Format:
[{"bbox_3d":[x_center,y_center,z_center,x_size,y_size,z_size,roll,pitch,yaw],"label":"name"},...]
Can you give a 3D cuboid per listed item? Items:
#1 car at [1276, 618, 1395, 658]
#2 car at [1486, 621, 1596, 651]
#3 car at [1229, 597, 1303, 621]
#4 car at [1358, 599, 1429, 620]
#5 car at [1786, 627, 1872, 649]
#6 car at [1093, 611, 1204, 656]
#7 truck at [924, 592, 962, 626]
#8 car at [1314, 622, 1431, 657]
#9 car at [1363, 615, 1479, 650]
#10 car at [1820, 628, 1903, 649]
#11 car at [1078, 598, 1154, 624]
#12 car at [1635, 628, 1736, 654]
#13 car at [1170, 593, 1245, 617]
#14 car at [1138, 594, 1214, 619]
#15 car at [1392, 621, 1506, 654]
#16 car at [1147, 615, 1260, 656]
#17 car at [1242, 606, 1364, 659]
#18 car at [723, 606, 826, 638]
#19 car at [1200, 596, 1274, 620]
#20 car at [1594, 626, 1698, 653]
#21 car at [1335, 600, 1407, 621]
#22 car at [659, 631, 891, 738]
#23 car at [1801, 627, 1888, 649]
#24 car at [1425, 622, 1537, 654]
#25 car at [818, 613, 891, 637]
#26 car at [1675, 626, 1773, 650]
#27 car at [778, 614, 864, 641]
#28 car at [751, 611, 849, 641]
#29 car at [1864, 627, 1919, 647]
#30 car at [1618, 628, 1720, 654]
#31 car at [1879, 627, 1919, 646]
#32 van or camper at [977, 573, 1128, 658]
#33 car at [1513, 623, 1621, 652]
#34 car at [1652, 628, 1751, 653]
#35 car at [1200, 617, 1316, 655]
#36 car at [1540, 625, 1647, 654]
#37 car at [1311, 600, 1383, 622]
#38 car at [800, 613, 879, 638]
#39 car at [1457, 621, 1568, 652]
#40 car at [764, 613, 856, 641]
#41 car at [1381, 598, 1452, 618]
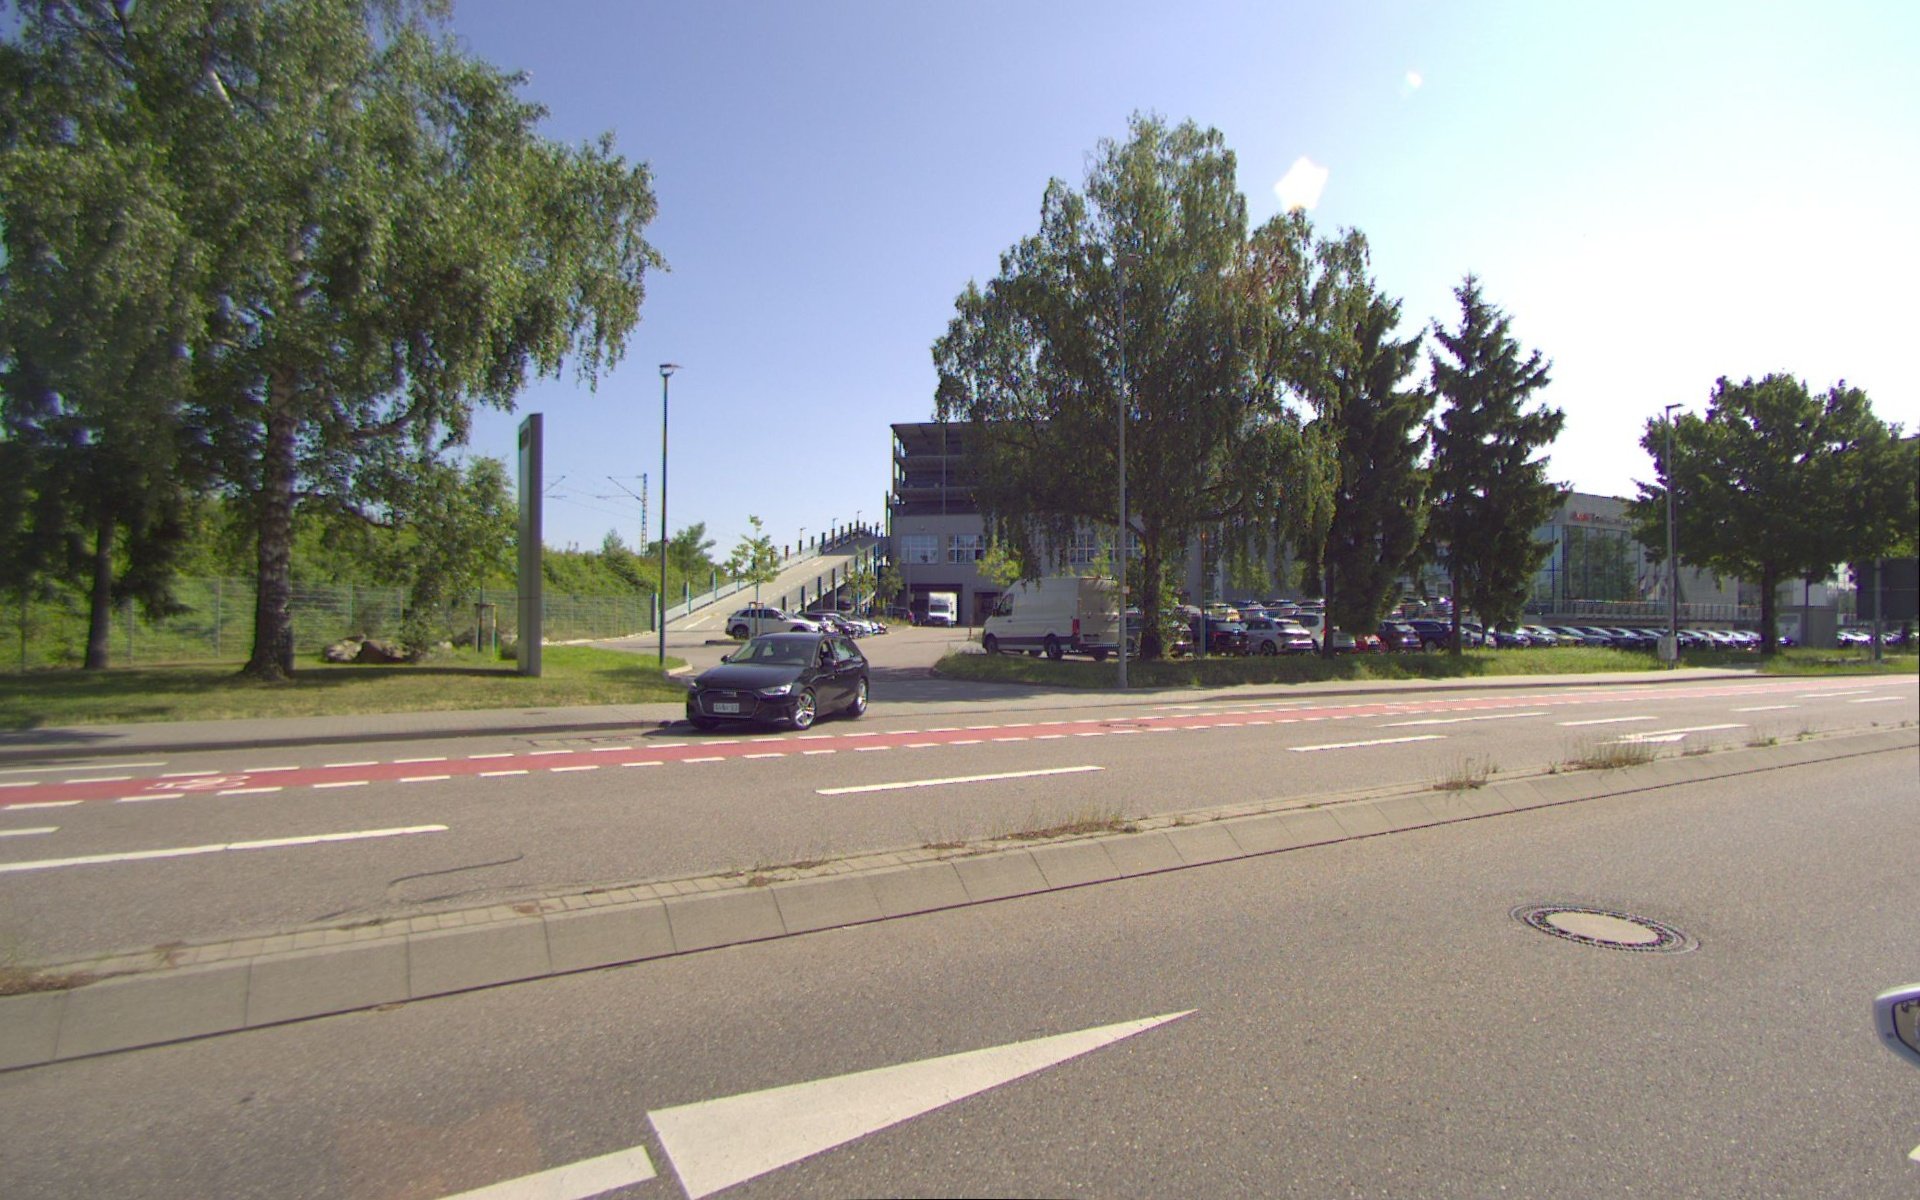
[{"bbox_3d":[14.830,1.474,39.937,1.930,1.524,4.249,1,-1,-28],"label":"car"},{"bbox_3d":[28.140,1.717,48.780,1.930,1.368,4.249,1,-1,-28],"label":"car"},{"bbox_3d":[18.702,0.579,61.526,1.931,1.368,4.247,1,-1,-30],"label":"car"},{"bbox_3d":[29.786,0.654,69.166,1.931,1.368,4.247,1,-1,-30],"label":"car"},{"bbox_3d":[57.890,2.520,66.973,1.844,1.394,3.968,1,-1,-30],"label":"car"},{"bbox_3d":[6.401,1.128,34.488,1.720,1.458,4.075,1,-1,-25],"label":"car"},{"bbox_3d":[-1.448,0.910,91.709,2.612,2.955,8.468,0,-1,5],"label":"truck"},{"bbox_3d":[17.078,1.610,41.776,1.930,1.346,4.249,1,-1,-28],"label":"car"},{"bbox_3d":[19.667,1.354,43.013,1.930,1.399,4.249,1,-1,-28],"label":"car"},{"bbox_3d":[62.454,2.621,69.643,1.902,1.394,3.968,1,-1,-30],"label":"car"},{"bbox_3d":[8.441,0.612,54.644,1.931,1.368,4.247,1,-1,-30],"label":"car"},{"bbox_3d":[41.195,2.311,57.115,1.930,1.368,4.249,1,-1,-28],"label":"car"},{"bbox_3d":[14.554,0.328,59.186,1.931,1.368,4.247,1,-1,-30],"label":"car"},{"bbox_3d":[12.279,0.400,57.302,1.931,1.368,4.247,1,-1,-30],"label":"car"},{"bbox_3d":[21.674,1.651,44.675,1.930,1.368,4.249,1,-1,-28],"label":"car"},{"bbox_3d":[8.518,1.224,35.494,1.720,1.372,4.075,2,-2,-25],"label":"car"},{"bbox_3d":[12.956,1.201,38.166,1.930,1.909,4.249,1,-1,-28],"label":"car"},{"bbox_3d":[-8.780,1.058,47.779,4.459,1.461,2.001,0,-1,2],"label":"car"},{"bbox_3d":[16.596,0.501,60.367,1.931,1.368,4.247,1,-1,-30],"label":"car"},{"bbox_3d":[36.998,2.116,54.277,1.930,1.368,4.249,1,-1,-28],"label":"car"},{"bbox_3d":[27.654,0.714,67.758,1.931,1.368,4.247,1,-1,-30],"label":"car"},{"bbox_3d":[-2.778,1.244,16.368,1.960,1.432,4.684,0,-1,14],"label":"car"},{"bbox_3d":[60.150,2.568,68.361,2.002,1.394,4.022,1,-1,-30],"label":"car"},{"bbox_3d":[23.811,1.699,46.060,1.930,1.368,4.249,1,-1,-28],"label":"car"},{"bbox_3d":[-6.867,1.632,65.651,4.459,1.461,2.001,0,-1,2],"label":"car"},{"bbox_3d":[45.163,2.214,59.445,1.930,1.368,4.249,1,-1,-28],"label":"car"},{"bbox_3d":[-7.680,1.514,55.723,4.459,1.461,2.001,0,-1,2],"label":"car"},{"bbox_3d":[-7.946,1.282,50.165,4.459,1.461,2.001,0,-1,2],"label":"car"},{"bbox_3d":[69.049,2.710,73.484,1.902,1.394,3.968,1,-1,-30],"label":"car"},{"bbox_3d":[39.178,2.247,55.595,1.930,1.368,4.249,1,-1,-28],"label":"car"},{"bbox_3d":[71.556,2.690,75.035,1.902,1.394,3.968,1,-1,-30],"label":"car"},{"bbox_3d":[2.844,0.394,32.333,1.978,2.504,5.347,-1,2,-32],"label":"van or camper"},{"bbox_3d":[30.241,1.840,50.133,1.930,1.368,4.249,1,-1,-28],"label":"car"},{"bbox_3d":[43.114,2.350,58.523,1.930,1.368,4.249,1,-1,-28],"label":"car"},{"bbox_3d":[10.836,1.297,36.764,1.722,1.310,4.070,1,-1,-28],"label":"car"},{"bbox_3d":[32.402,1.996,51.481,1.930,1.368,4.249,1,-1,-28],"label":"car"},{"bbox_3d":[25.485,0.740,66.264,1.931,1.368,4.247,1,-1,-30],"label":"car"},{"bbox_3d":[-7.287,1.527,61.108,4.459,1.461,2.001,0,-1,2],"label":"car"},{"bbox_3d":[25.936,1.689,47.270,1.930,1.368,4.249,1,-1,-28],"label":"car"},{"bbox_3d":[-7.792,1.409,52.583,4.459,1.461,2.001,0,-1,2],"label":"car"},{"bbox_3d":[31.907,0.590,70.336,1.931,1.368,4.247,1,-1,-30],"label":"car"}]
